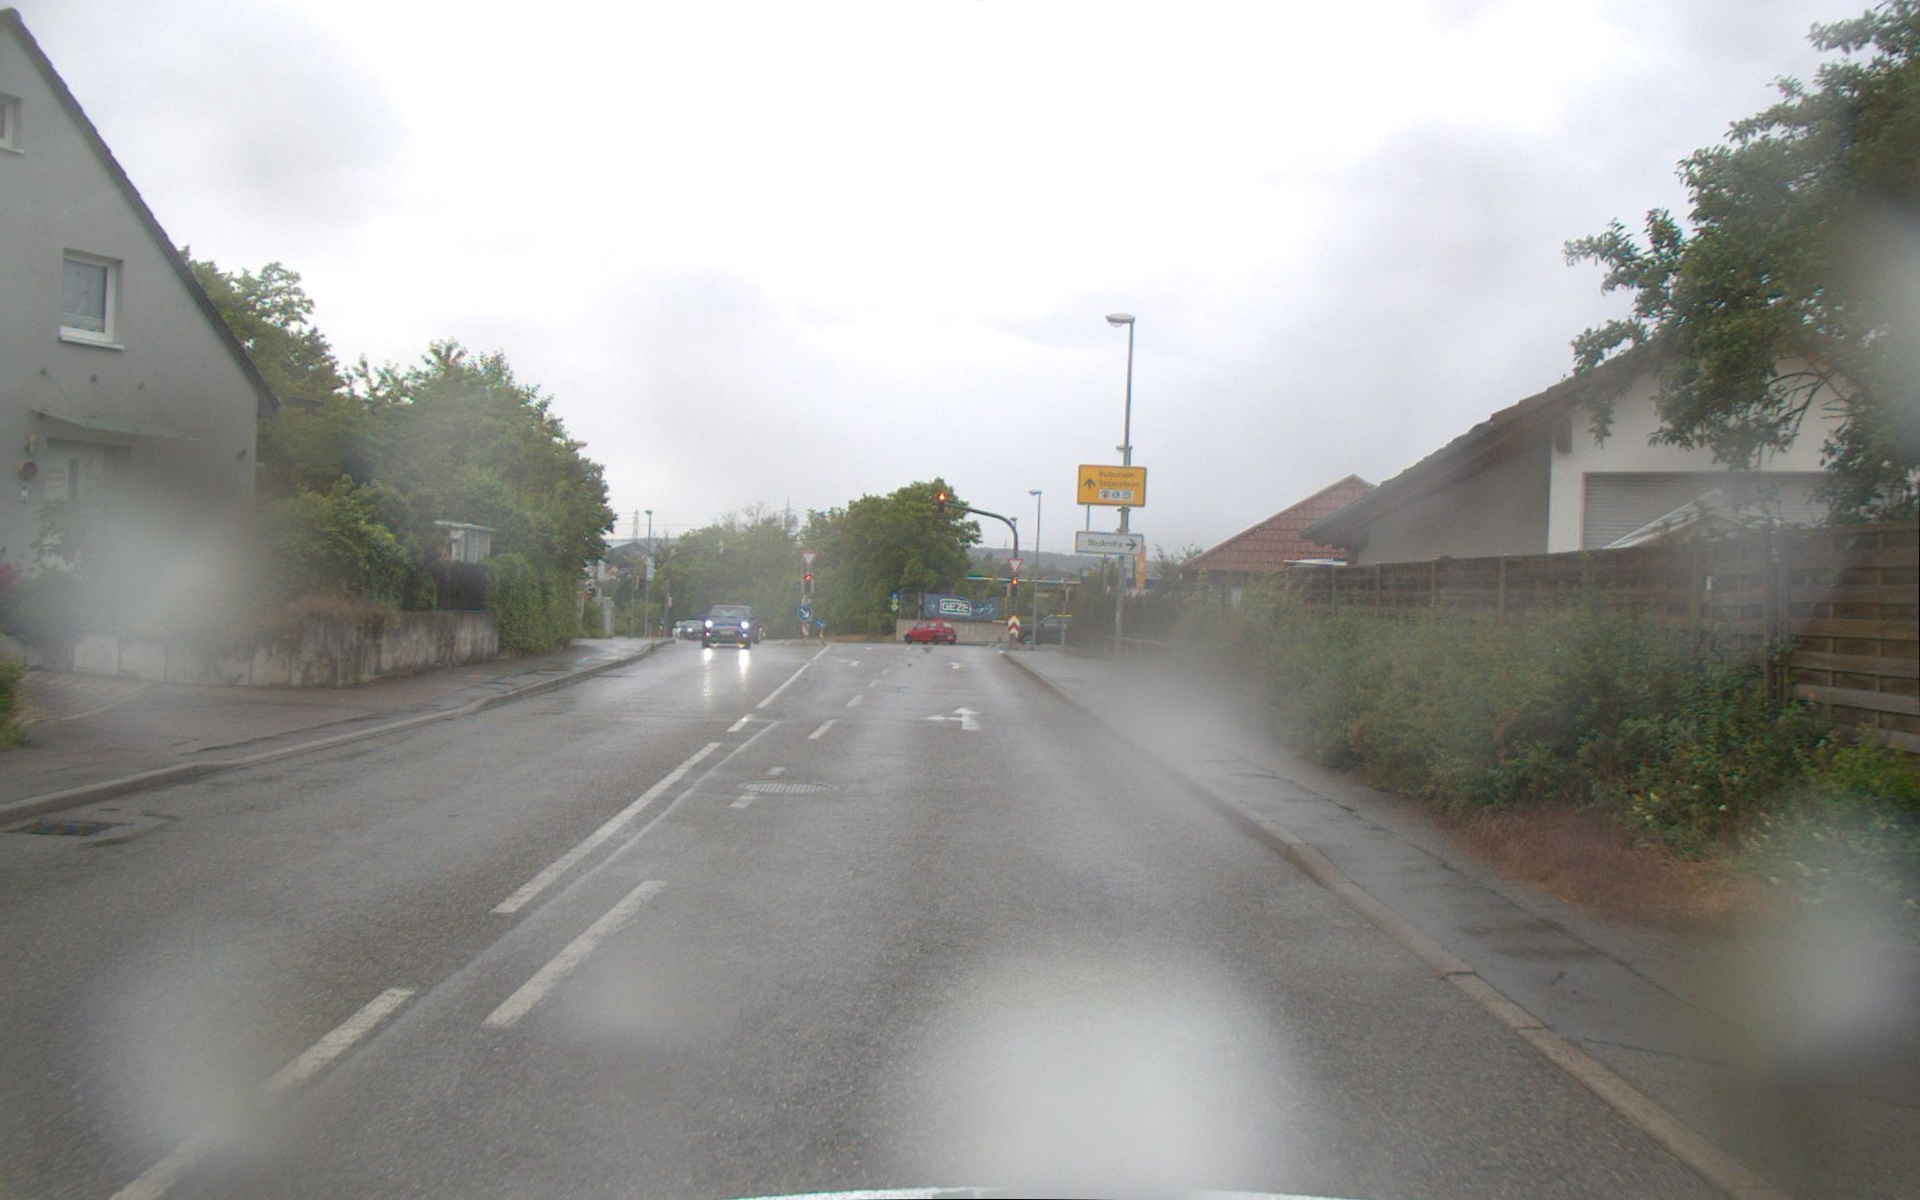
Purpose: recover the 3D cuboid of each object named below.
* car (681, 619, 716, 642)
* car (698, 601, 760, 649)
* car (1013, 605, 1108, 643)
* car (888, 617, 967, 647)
[{"bbox_3d":[-18.016,2.088,113.868,1.961,1.489,3.983,0,1,-16],"label":"car"},{"bbox_3d":[-8.130,0.866,58.470,1.769,1.550,3.998,2,0,-3],"label":"car"},{"bbox_3d":[5.896,1.395,96.634,5.350,2.049,2.002,-2,0,8],"label":"car"},{"bbox_3d":[-2.073,2.005,103.916,4.674,1.720,2.290,-2,0,43],"label":"car"}]
